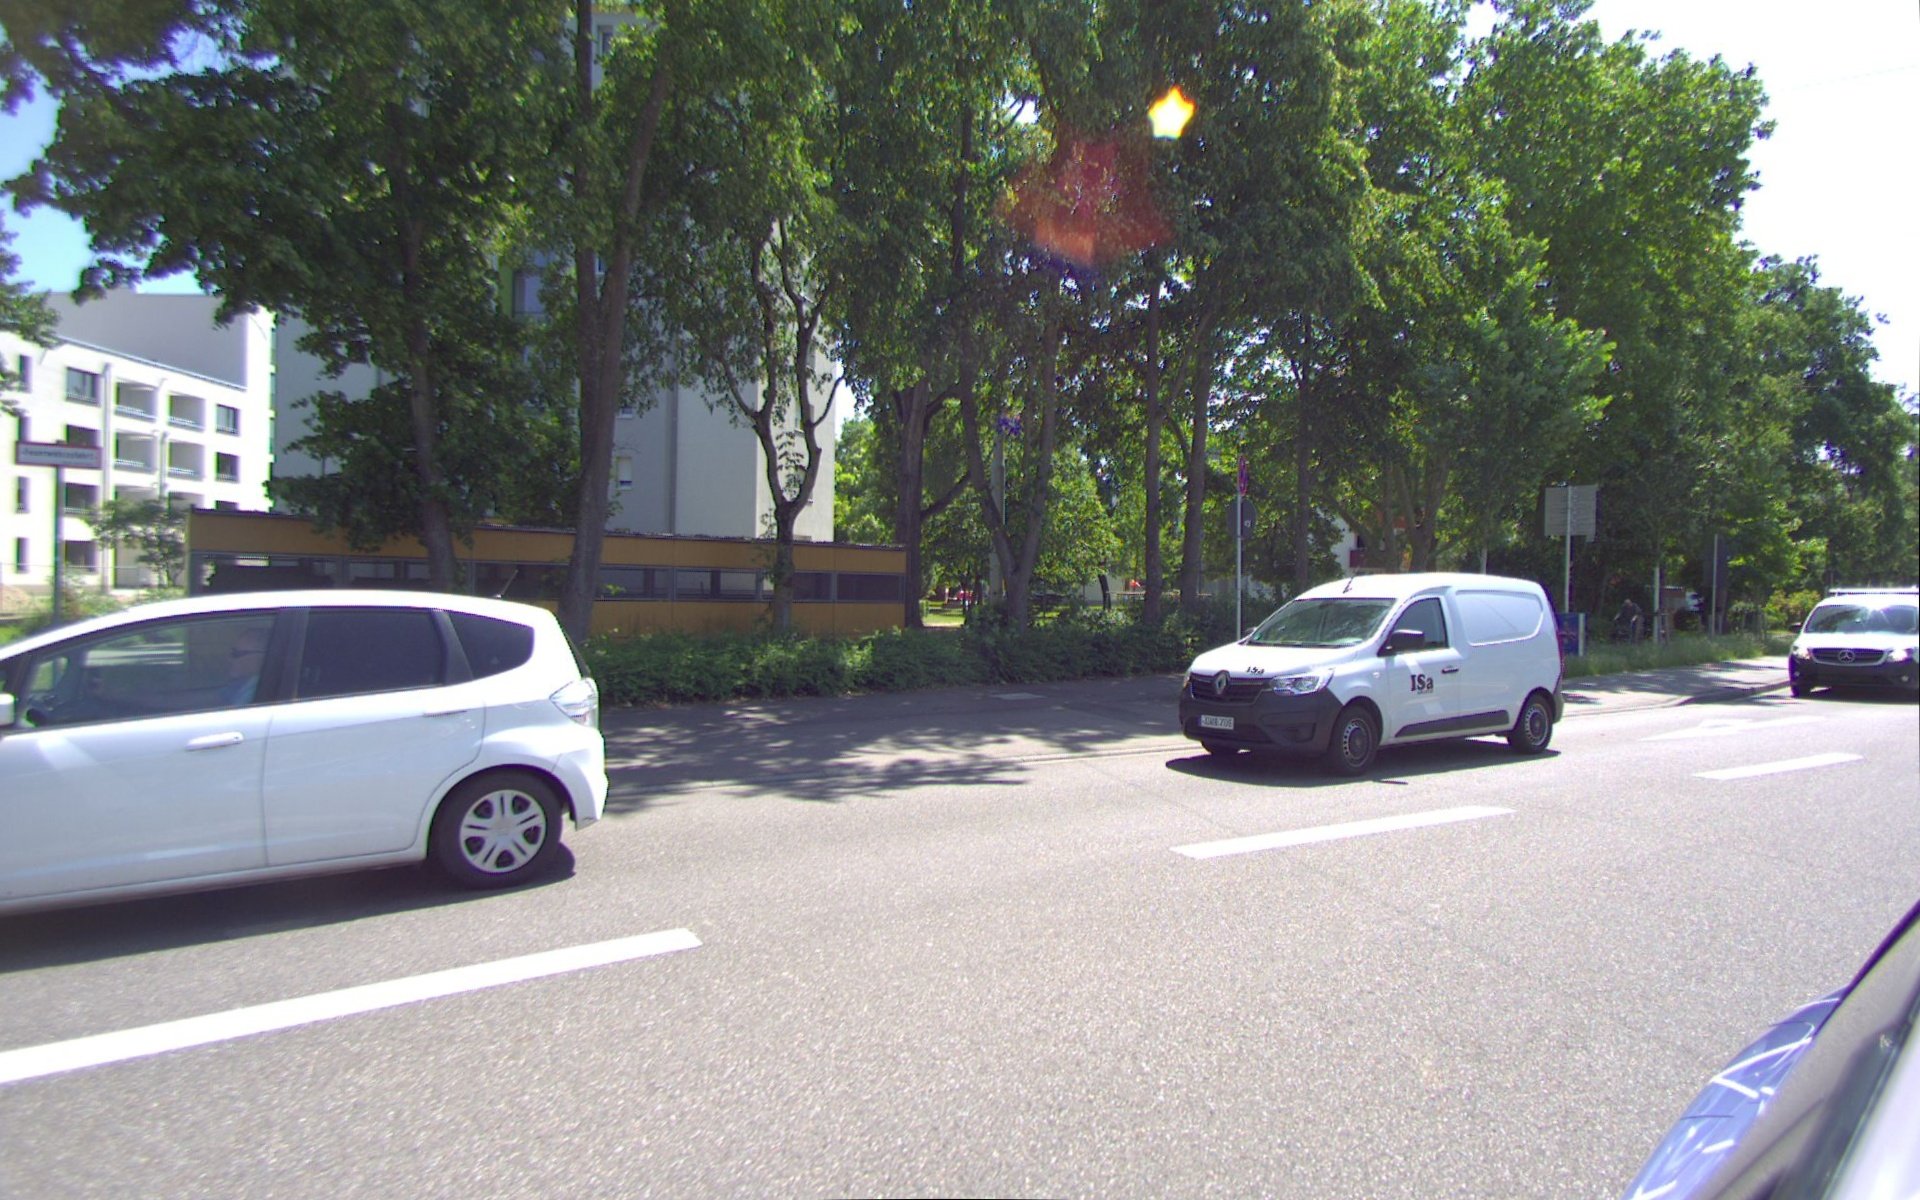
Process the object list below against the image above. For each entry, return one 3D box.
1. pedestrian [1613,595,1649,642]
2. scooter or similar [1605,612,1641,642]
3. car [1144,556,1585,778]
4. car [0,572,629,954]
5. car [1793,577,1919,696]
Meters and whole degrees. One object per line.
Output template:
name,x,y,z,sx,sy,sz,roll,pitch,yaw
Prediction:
pedestrian,20.604,0.561,31.080,0.749,1.416,0.710,1,-1,-38
scooter or similar,20.103,0.814,30.666,0.749,0.904,0.710,1,-1,-38
car,4.044,0.548,9.932,4.339,1.770,1.716,0,-1,-31
car,-3.826,0.653,5.042,3.805,1.507,1.725,0,-1,-36
car,16.613,0.593,18.081,4.992,1.879,1.808,0,-1,-40
